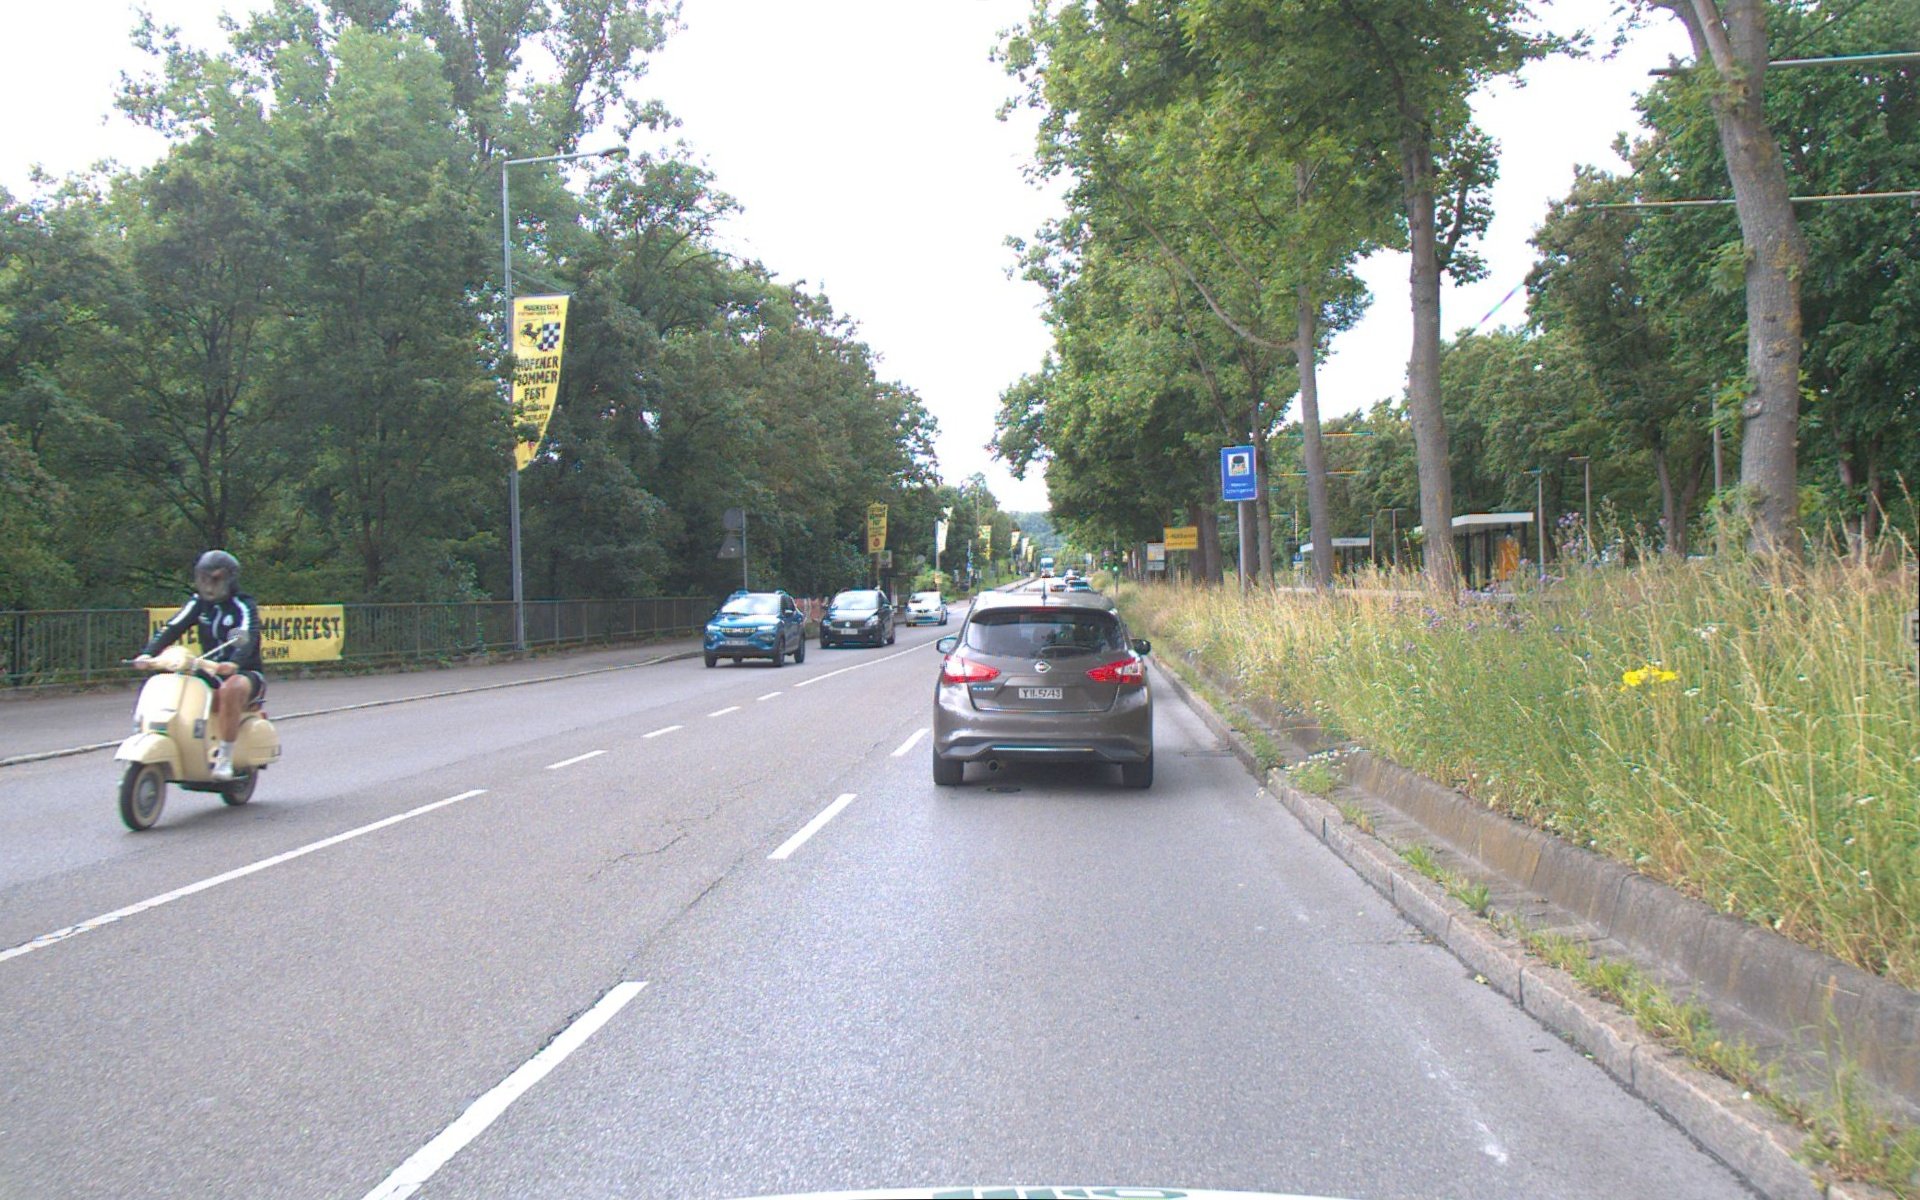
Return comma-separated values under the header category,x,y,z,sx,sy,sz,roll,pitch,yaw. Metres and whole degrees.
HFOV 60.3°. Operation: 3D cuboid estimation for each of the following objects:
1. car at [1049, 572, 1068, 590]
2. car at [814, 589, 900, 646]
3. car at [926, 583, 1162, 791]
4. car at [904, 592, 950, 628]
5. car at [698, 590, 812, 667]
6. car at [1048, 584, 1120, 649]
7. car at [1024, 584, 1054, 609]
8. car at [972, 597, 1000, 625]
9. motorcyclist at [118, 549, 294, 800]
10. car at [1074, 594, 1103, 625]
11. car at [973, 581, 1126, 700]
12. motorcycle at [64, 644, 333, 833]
category,x,y,z,sx,sy,sz,roll,pitch,yaw
car,8.881,-1.675,148.659,1.682,1.426,3.727,-1,-2,3
car,-2.830,0.464,46.226,1.779,1.488,4.003,-1,0,5
car,0.708,0.683,14.292,1.738,1.520,4.001,1,-1,2
car,-1.417,0.476,72.795,1.715,1.445,4.001,-1,-2,3
car,-4.200,0.626,34.429,1.685,1.467,4.001,-1,-2,2
car,3.148,0.417,42.617,1.545,1.565,4.000,-1,-1,0
car,5.307,-0.213,110.256,1.812,1.512,4.423,-1,-1,5
car,1.758,0.767,111.612,1.682,1.723,3.727,-1,-2,3
motorcyclist,-4.874,0.461,10.729,0.729,1.566,0.791,0,0,6
car,7.842,0.596,101.266,1.682,1.723,4.001,-1,-2,3
car,1.227,0.584,24.396,1.855,1.601,3.997,0,-1,-3
motorcycle,-4.865,0.841,10.724,0.729,1.051,1.889,0,0,5
